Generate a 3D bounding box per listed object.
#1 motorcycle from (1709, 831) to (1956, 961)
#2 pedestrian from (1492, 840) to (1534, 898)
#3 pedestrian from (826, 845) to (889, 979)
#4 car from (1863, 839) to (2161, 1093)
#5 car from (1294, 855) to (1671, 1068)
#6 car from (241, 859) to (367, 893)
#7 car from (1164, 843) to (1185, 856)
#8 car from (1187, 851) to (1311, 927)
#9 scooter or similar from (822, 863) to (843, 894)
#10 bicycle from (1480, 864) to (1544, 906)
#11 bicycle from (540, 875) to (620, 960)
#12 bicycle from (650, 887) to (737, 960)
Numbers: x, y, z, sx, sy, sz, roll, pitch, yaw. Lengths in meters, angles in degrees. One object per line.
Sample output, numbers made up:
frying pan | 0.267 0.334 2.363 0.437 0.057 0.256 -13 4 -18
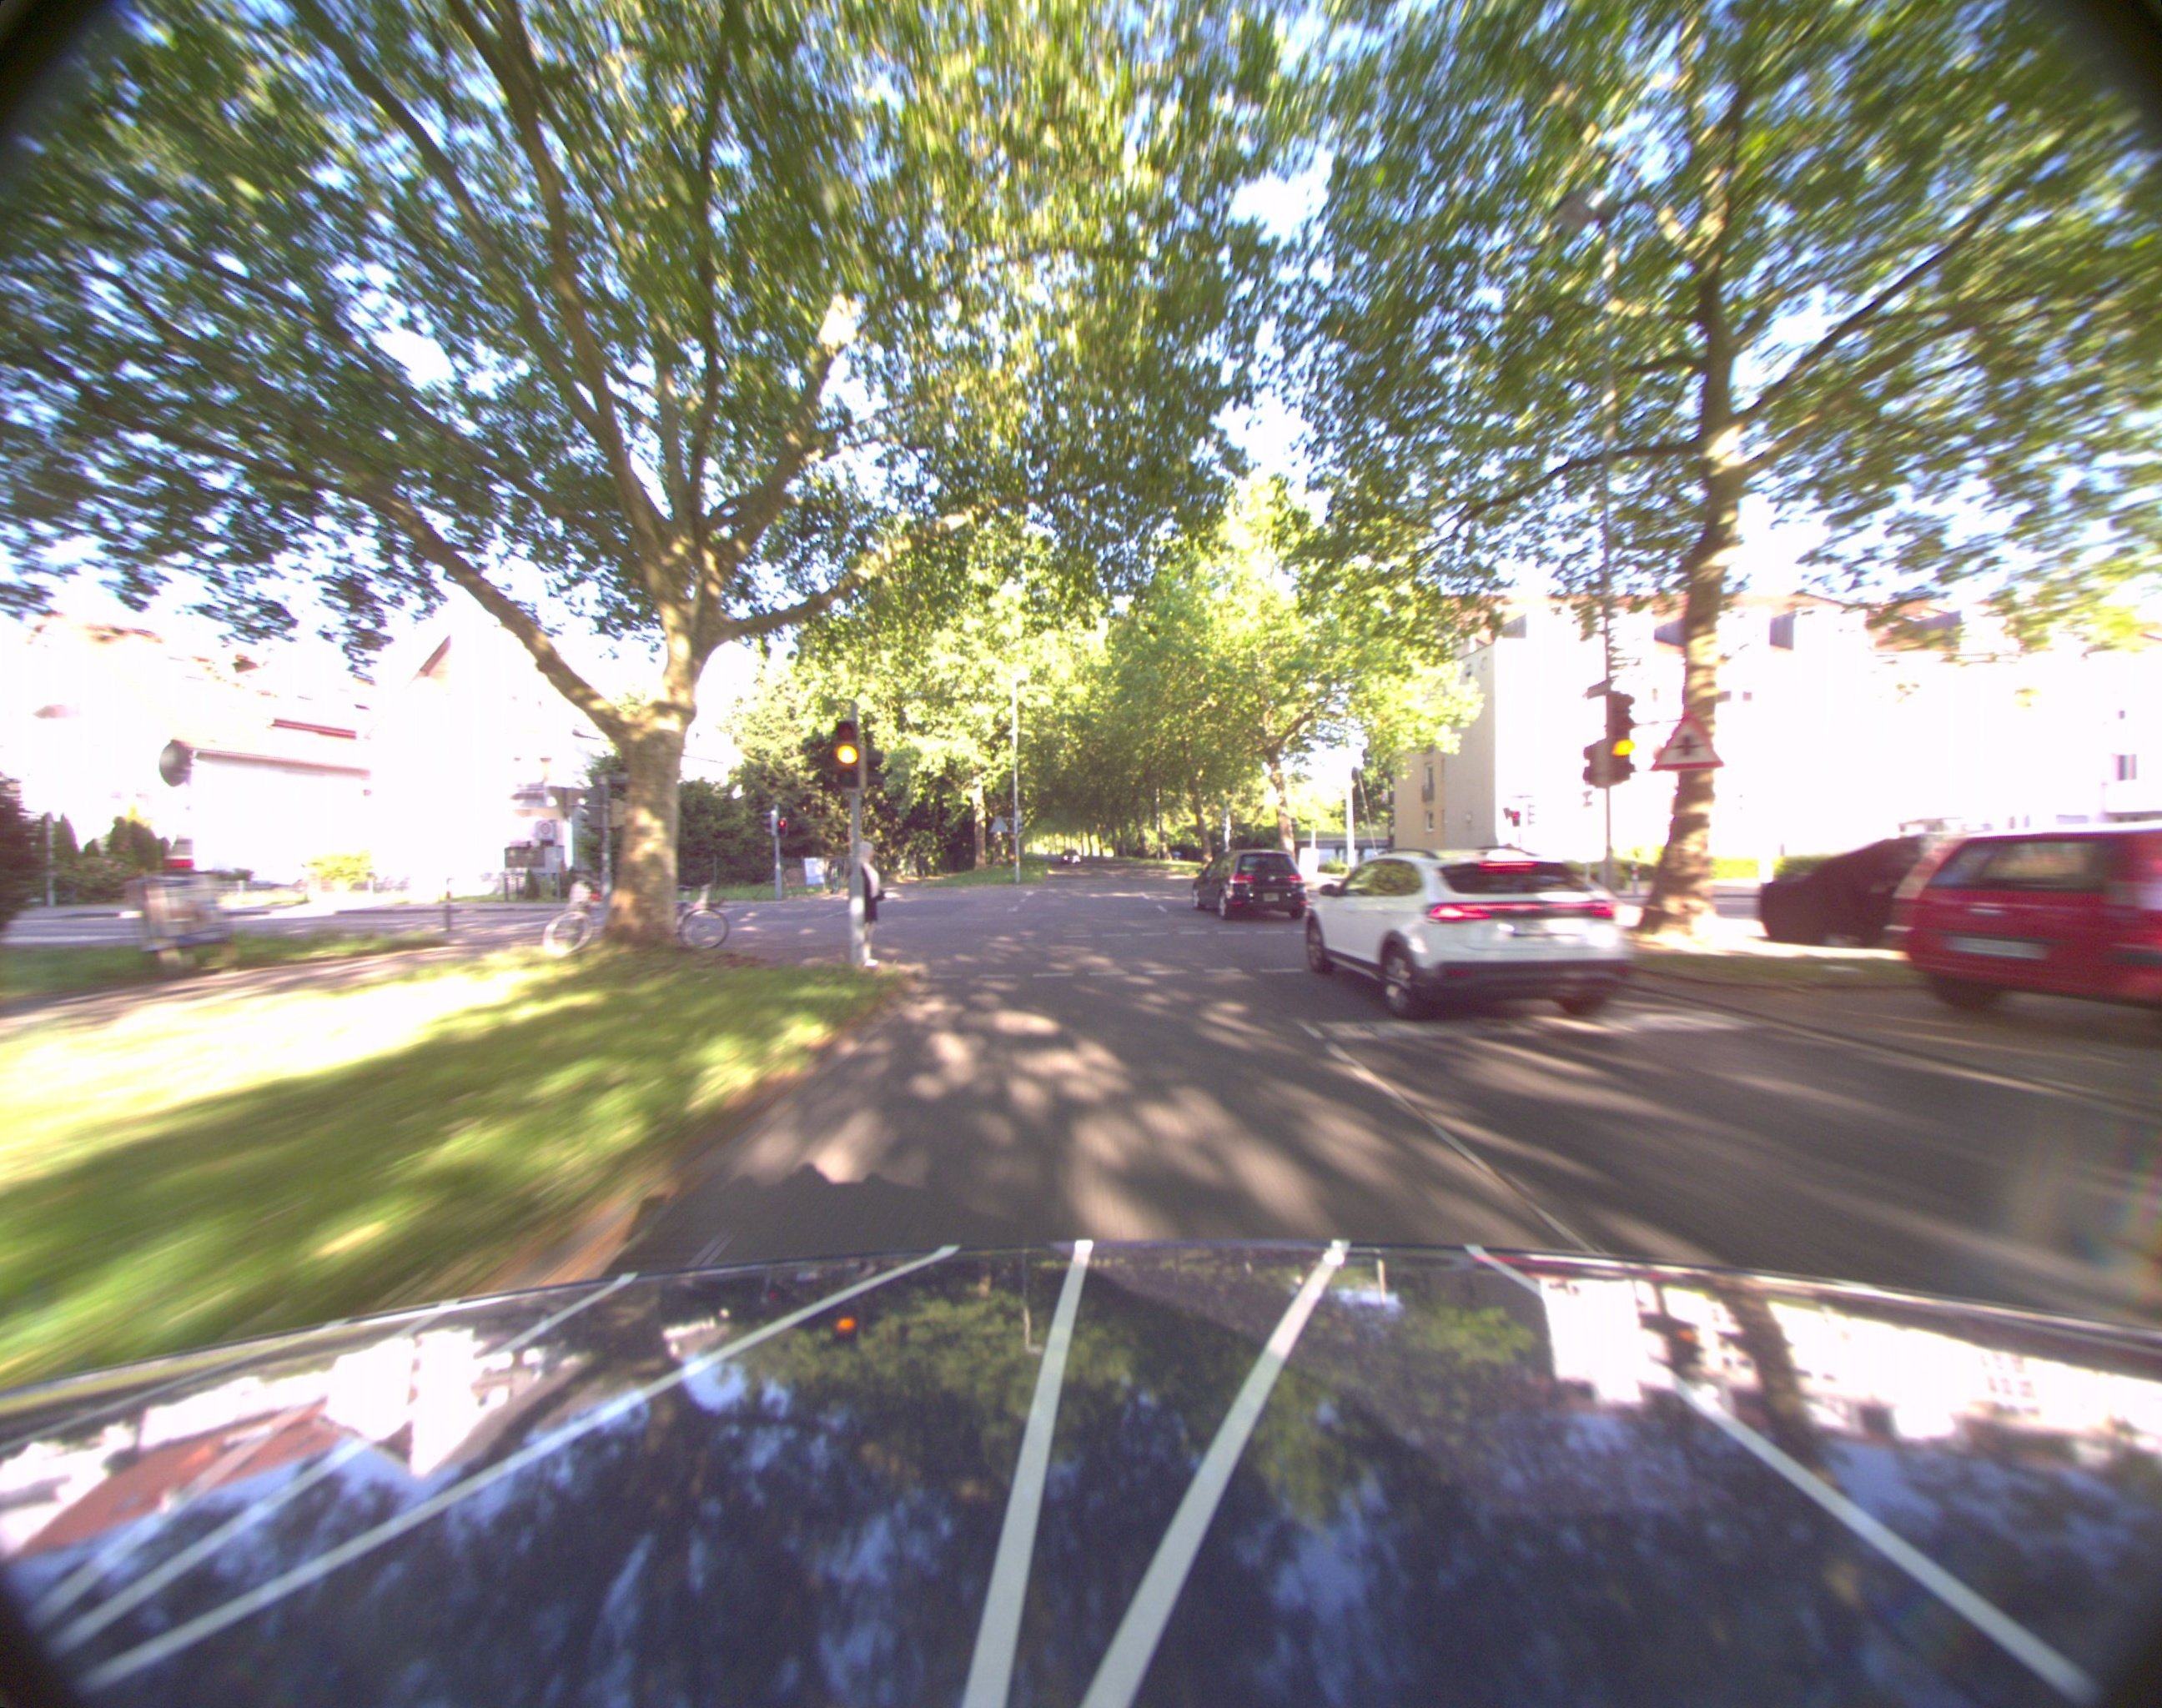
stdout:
motorcycle | 10.532 0.553 10.834 0.983 1.628 2.389 -1 -1 -7
pedestrian | 11.887 0.397 20.944 0.510 1.523 1.033 0 3 -1
pedestrian | -2.967 0.751 10.156 0.636 1.709 0.825 1 1 -7
car | 8.547 0.660 5.586 3.774 1.526 1.831 -1 1 -1
car | 3.559 0.807 7.690 1.720 1.492 4.093 -1 1 1
car | -35.021 0.955 34.367 1.702 1.413 3.589 0 0 14
car | 11.380 -0.559 92.835 1.813 1.521 3.999 -2 1 -3
car | 3.657 0.694 17.234 1.731 1.455 4.066 -1 1 -3
scooter or similar | -9.784 0.953 29.957 0.383 1.189 1.255 -2 0 -1
bicycle | 11.880 0.833 21.038 0.510 1.036 2.152 -1 1 -1
bicycle | -7.045 0.844 10.765 0.447 1.076 2.005 1 -1 -19
bicycle | -5.976 1.035 11.686 1.715 1.028 0.447 0 -1 36
